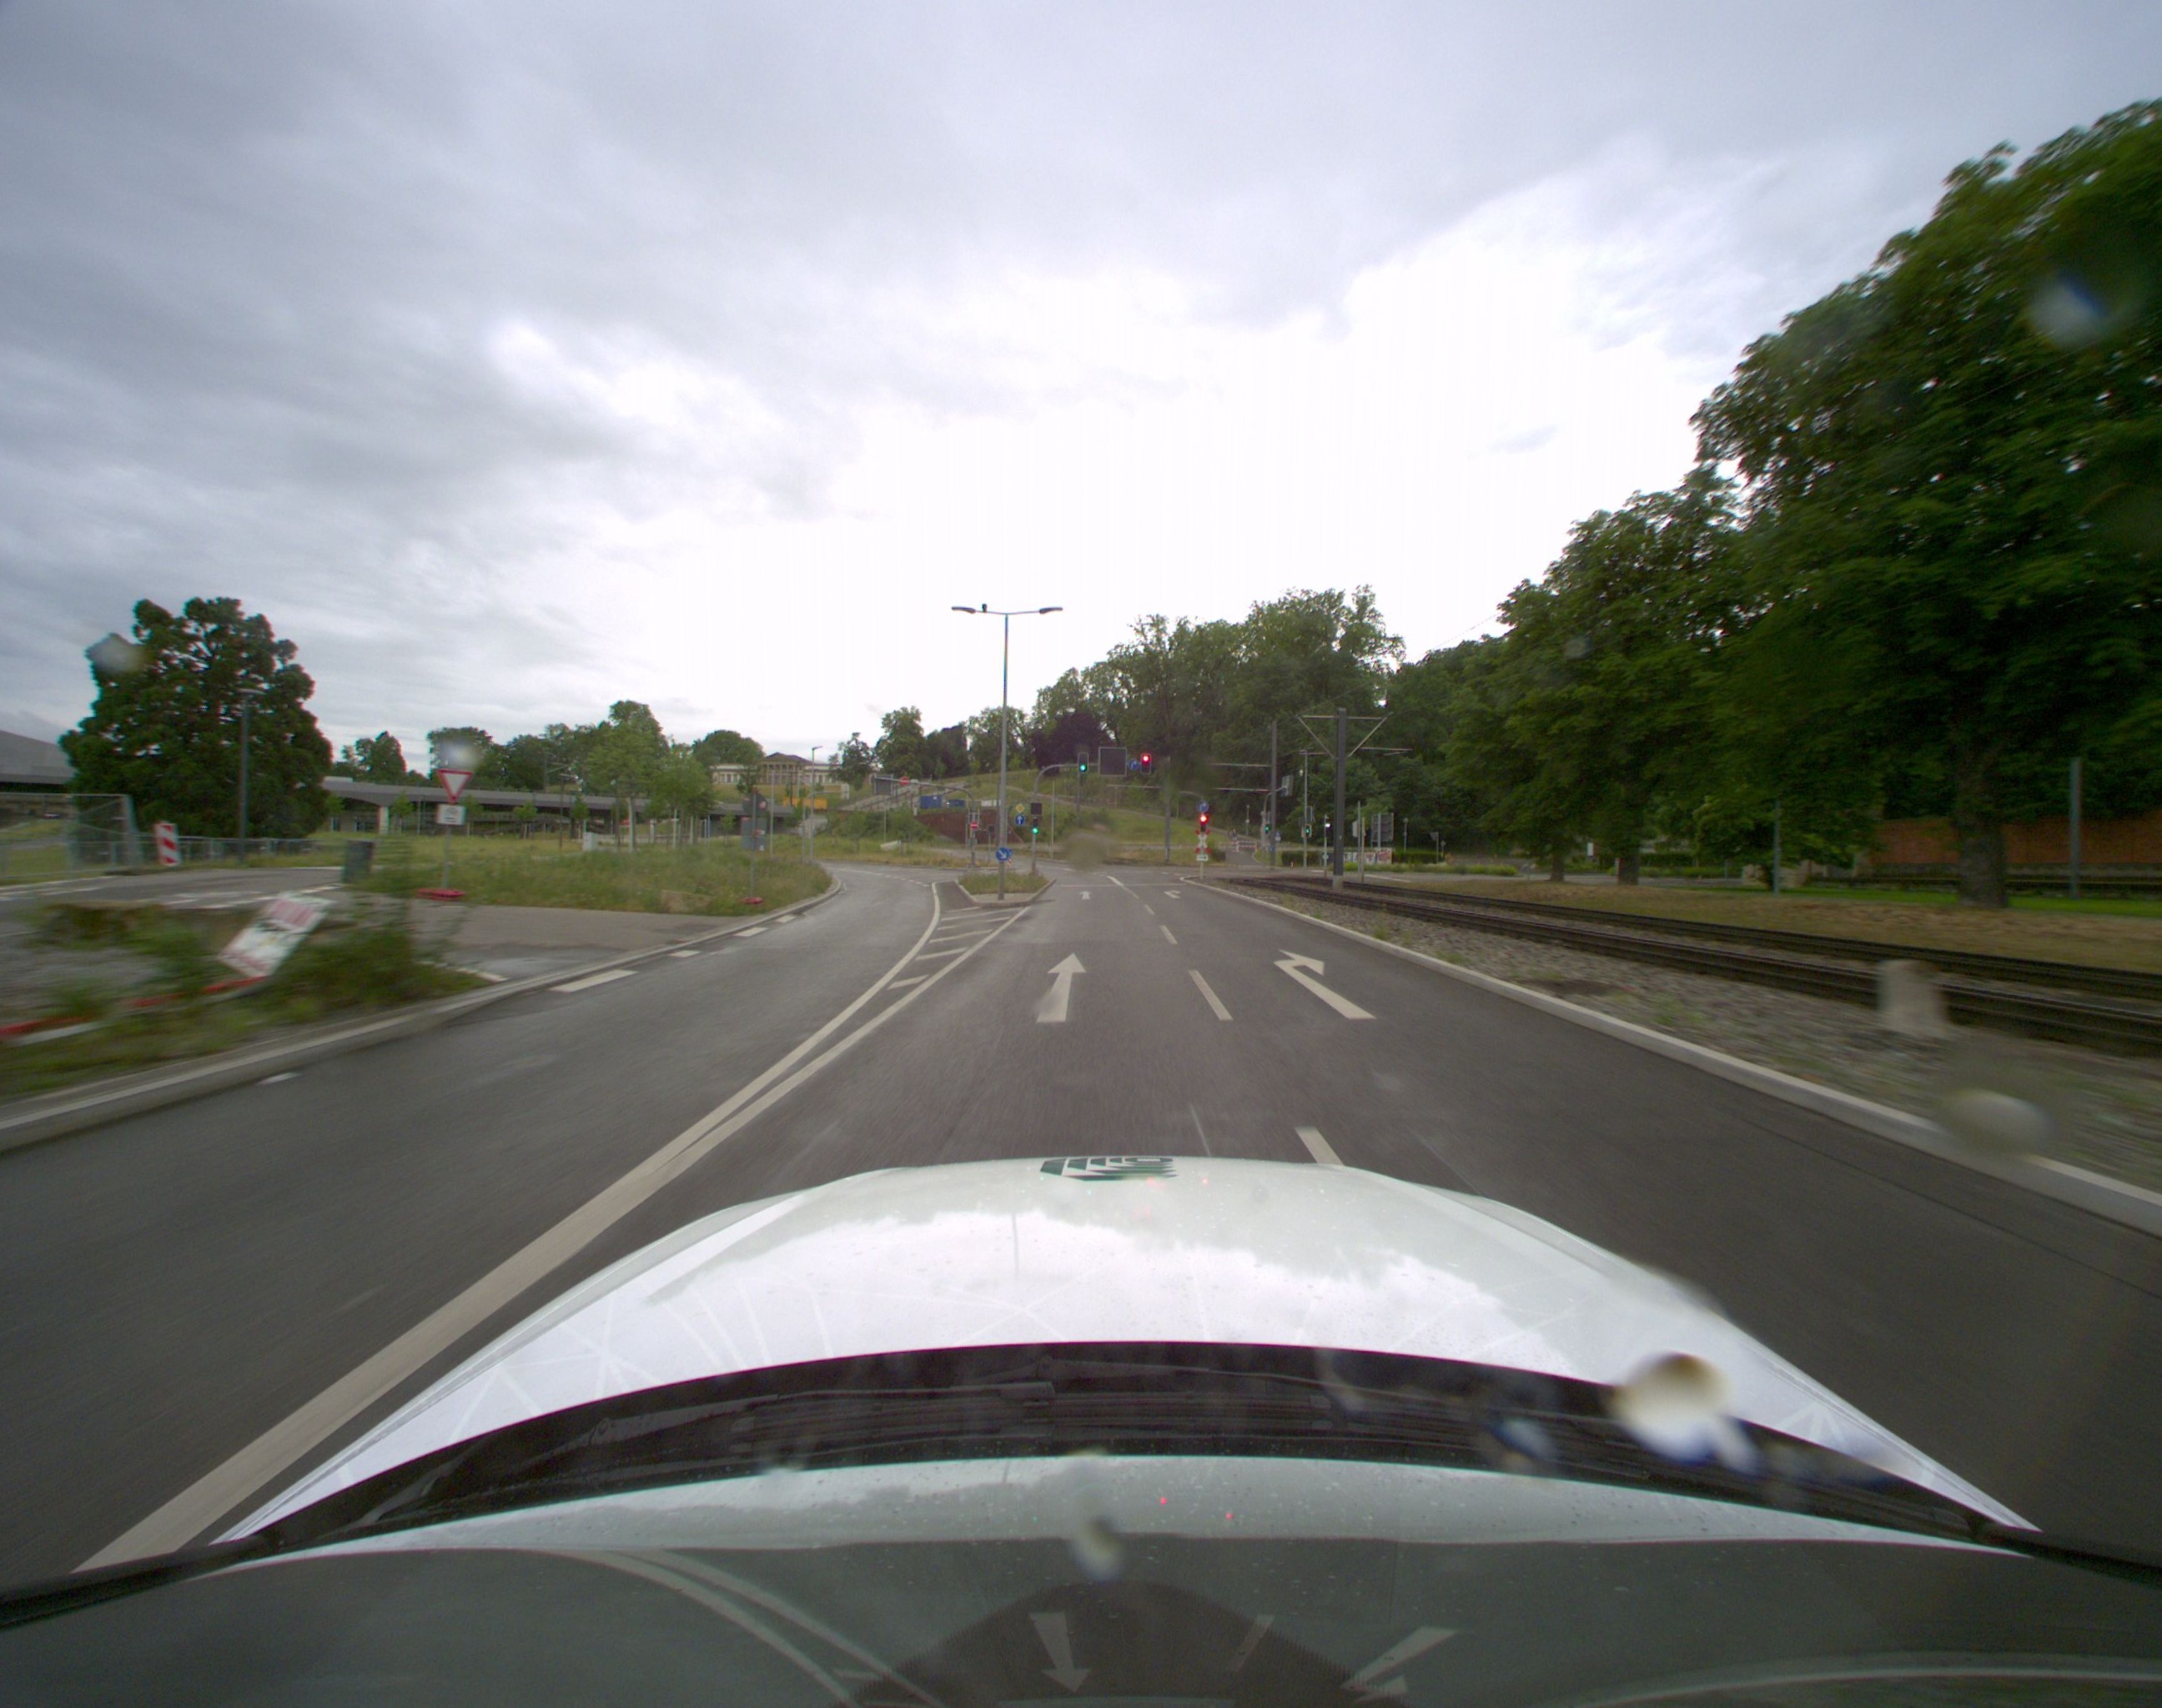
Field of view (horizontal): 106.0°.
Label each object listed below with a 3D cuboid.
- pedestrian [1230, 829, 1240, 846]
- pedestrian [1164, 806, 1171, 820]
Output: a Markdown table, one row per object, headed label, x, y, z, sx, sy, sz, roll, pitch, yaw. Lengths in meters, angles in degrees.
| label | x | y | z | sx | sy | sz | roll | pitch | yaw |
| --- | --- | --- | --- | --- | --- | --- | --- | --- | --- |
| pedestrian | 16.791 | -1.838 | 88.583 | 0.951 | 1.781 | 1.127 | 3 | 1 | 13 |
| pedestrian | 12.765 | -5.999 | 119.934 | 0.789 | 2.012 | 0.654 | -3 | 6 | -14 |
